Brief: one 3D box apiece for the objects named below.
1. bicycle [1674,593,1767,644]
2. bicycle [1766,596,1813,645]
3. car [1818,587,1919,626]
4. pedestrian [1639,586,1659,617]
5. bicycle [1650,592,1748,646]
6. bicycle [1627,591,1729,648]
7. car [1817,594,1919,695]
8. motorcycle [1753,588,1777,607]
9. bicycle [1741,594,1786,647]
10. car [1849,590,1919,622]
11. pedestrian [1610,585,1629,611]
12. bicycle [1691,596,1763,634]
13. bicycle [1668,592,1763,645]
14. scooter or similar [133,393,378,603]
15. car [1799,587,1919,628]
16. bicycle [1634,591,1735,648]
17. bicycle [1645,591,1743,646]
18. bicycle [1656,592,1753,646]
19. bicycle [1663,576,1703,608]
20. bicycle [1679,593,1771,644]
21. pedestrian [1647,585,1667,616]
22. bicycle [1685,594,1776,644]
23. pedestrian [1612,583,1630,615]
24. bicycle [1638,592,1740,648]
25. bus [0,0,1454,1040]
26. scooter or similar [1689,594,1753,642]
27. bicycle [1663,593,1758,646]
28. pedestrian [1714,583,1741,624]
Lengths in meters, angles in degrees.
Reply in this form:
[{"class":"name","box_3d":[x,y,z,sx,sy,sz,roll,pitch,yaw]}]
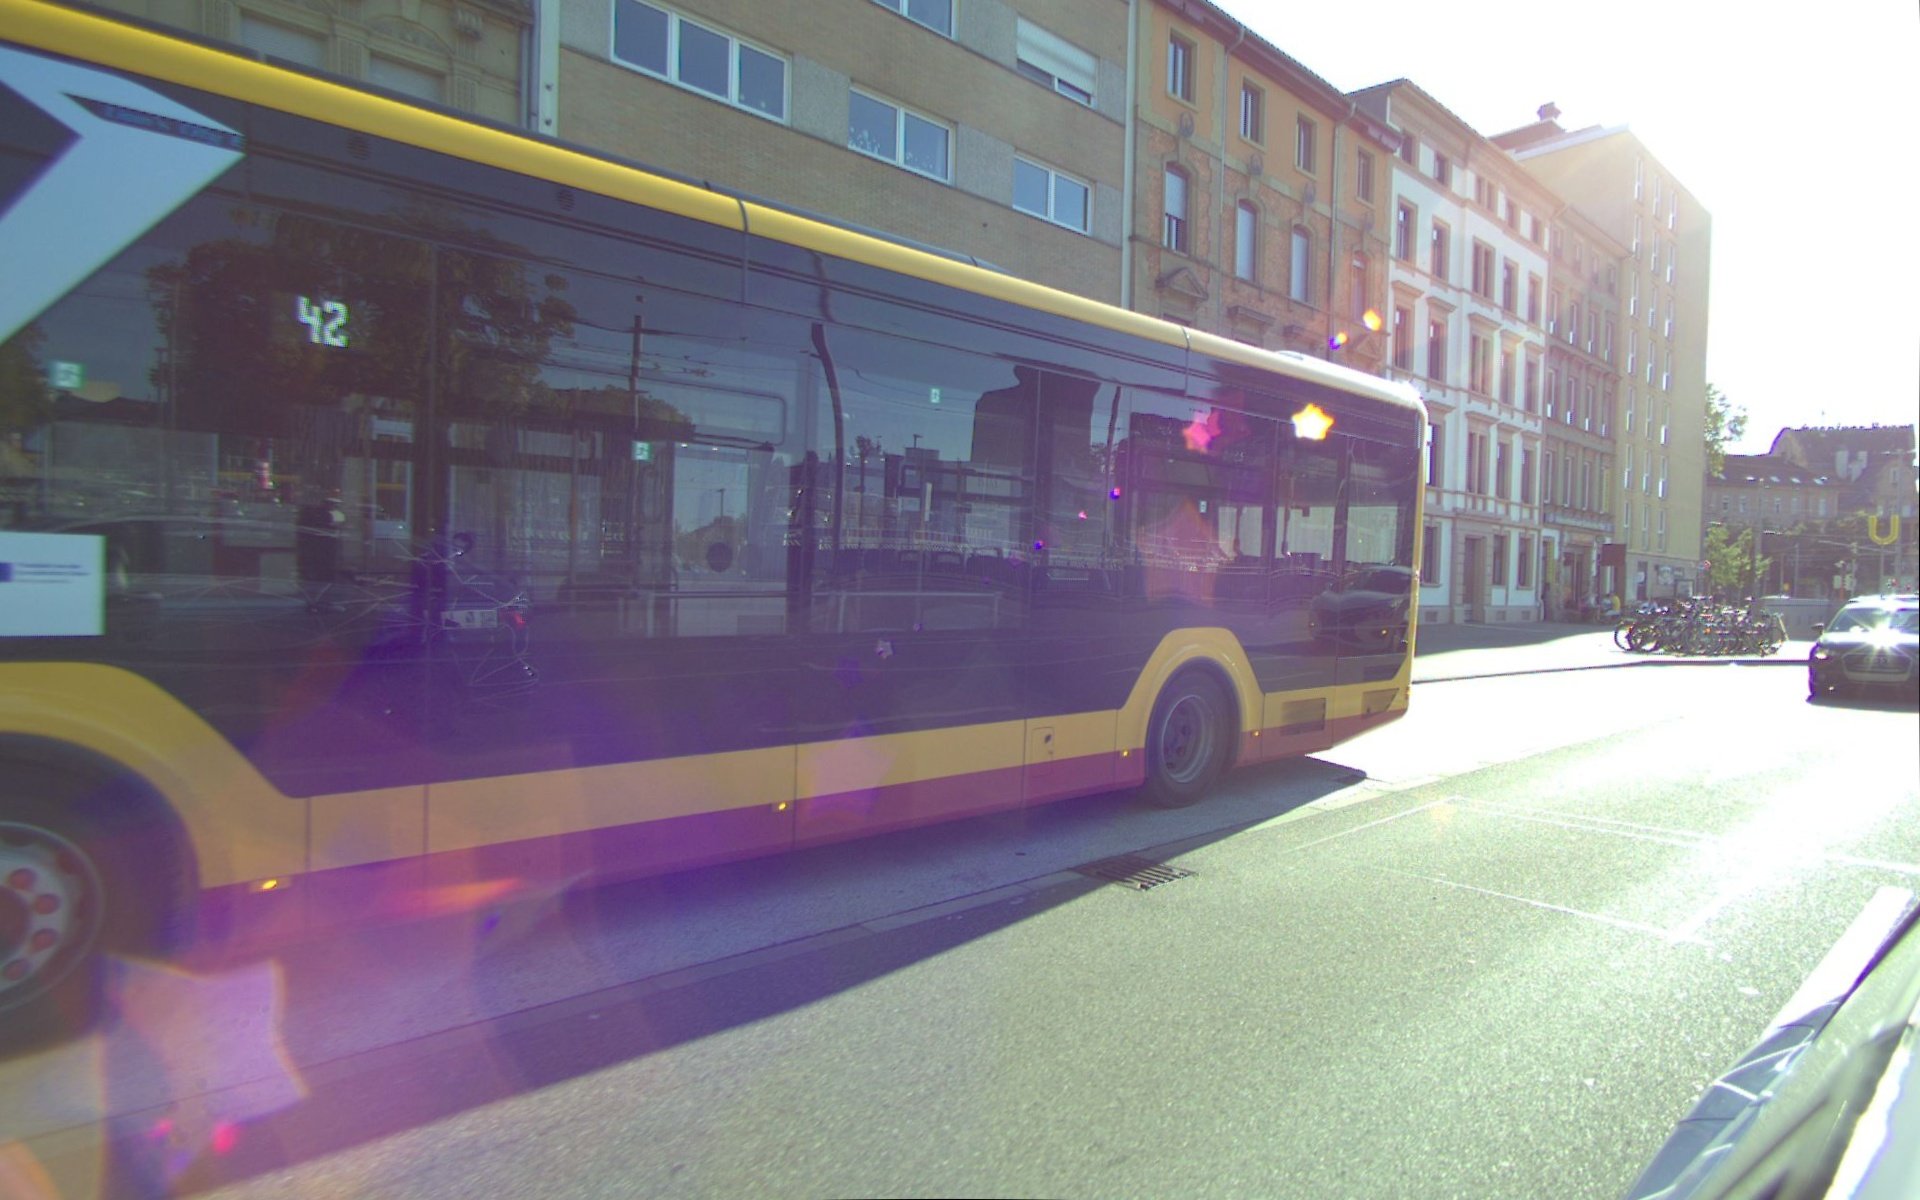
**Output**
[{"class":"bicycle","box_3d":[18.754,0.439,24.976,0.462,1.202,1.768,1,0,-40]},{"class":"bicycle","box_3d":[20.406,0.489,24.923,0.465,1.161,1.754,1,0,26]},{"class":"car","box_3d":[38.886,0.267,42.306,4.177,1.590,1.957,0,0,6]},{"class":"pedestrian","box_3d":[30.296,0.061,44.517,0.580,1.335,0.517,0,1,-34]},{"class":"bicycle","box_3d":[17.252,0.431,23.663,0.462,1.202,1.768,1,0,-40]},{"class":"bicycle","box_3d":[15.810,0.409,22.333,0.462,1.202,1.768,1,0,-40]},{"class":"car","box_3d":[14.562,0.620,15.524,3.766,1.406,1.692,0,0,-42]},{"class":"motorcycle","box_3d":[50.800,-0.163,63.847,1.774,1.059,0.879,-2,4,-43]},{"class":"bicycle","box_3d":[18.400,0.465,23.170,1.739,1.161,0.469,1,0,-41]},{"class":"car","box_3d":[43.865,0.262,46.763,3.825,1.417,1.786,0,0,6]},{"class":"pedestrian","box_3d":[29.634,-0.097,45.466,0.580,1.174,0.517,0,1,-34]},{"class":"bicycle","box_3d":[25.010,0.480,33.018,1.750,1.103,0.467,4,1,22]},{"class":"bicycle","box_3d":[18.382,0.434,24.654,0.462,1.202,1.768,1,0,-40]},{"class":"scooter or similar","box_3d":[-4.648,-0.647,6.745,0.431,1.264,1.276,4,4,40]},{"class":"car","box_3d":[36.122,0.286,40.002,4.044,1.482,1.957,1,1,9]},{"class":"bicycle","box_3d":[16.188,0.412,22.639,0.462,1.202,1.768,1,0,-40]},{"class":"bicycle","box_3d":[16.889,0.407,23.323,0.462,1.202,1.768,1,0,-40]},{"class":"bicycle","box_3d":[17.625,0.440,23.988,0.462,1.202,1.768,1,0,-40]},{"class":"bicycle","box_3d":[35.641,-0.390,49.864,2.187,1.374,0.933,4,0,-37]},{"class":"bicycle","box_3d":[19.115,0.440,25.307,0.462,1.193,1.768,1,0,-40]},{"class":"pedestrian","box_3d":[30.916,0.028,44.904,0.580,1.335,0.517,0,1,-34]},{"class":"bicycle","box_3d":[19.489,0.462,25.628,0.462,1.193,1.768,1,0,-40]},{"class":"pedestrian","box_3d":[28.003,-0.057,42.868,0.515,1.335,0.583,2,1,42]},{"class":"bicycle","box_3d":[16.537,0.429,22.992,0.462,1.202,1.795,1,0,-40]},{"class":"bus","box_3d":[-1.205,-0.416,5.994,12.321,3.220,2.721,0,3,-41]},{"class":"scooter or similar","box_3d":[19.836,0.457,26.393,1.195,1.231,0.637,0,1,23]},{"class":"bicycle","box_3d":[18.007,0.445,24.327,0.462,1.202,1.768,1,0,-40]},{"class":"pedestrian","box_3d":[36.382,0.166,47.963,0.744,1.889,0.826,2,1,20]}]
